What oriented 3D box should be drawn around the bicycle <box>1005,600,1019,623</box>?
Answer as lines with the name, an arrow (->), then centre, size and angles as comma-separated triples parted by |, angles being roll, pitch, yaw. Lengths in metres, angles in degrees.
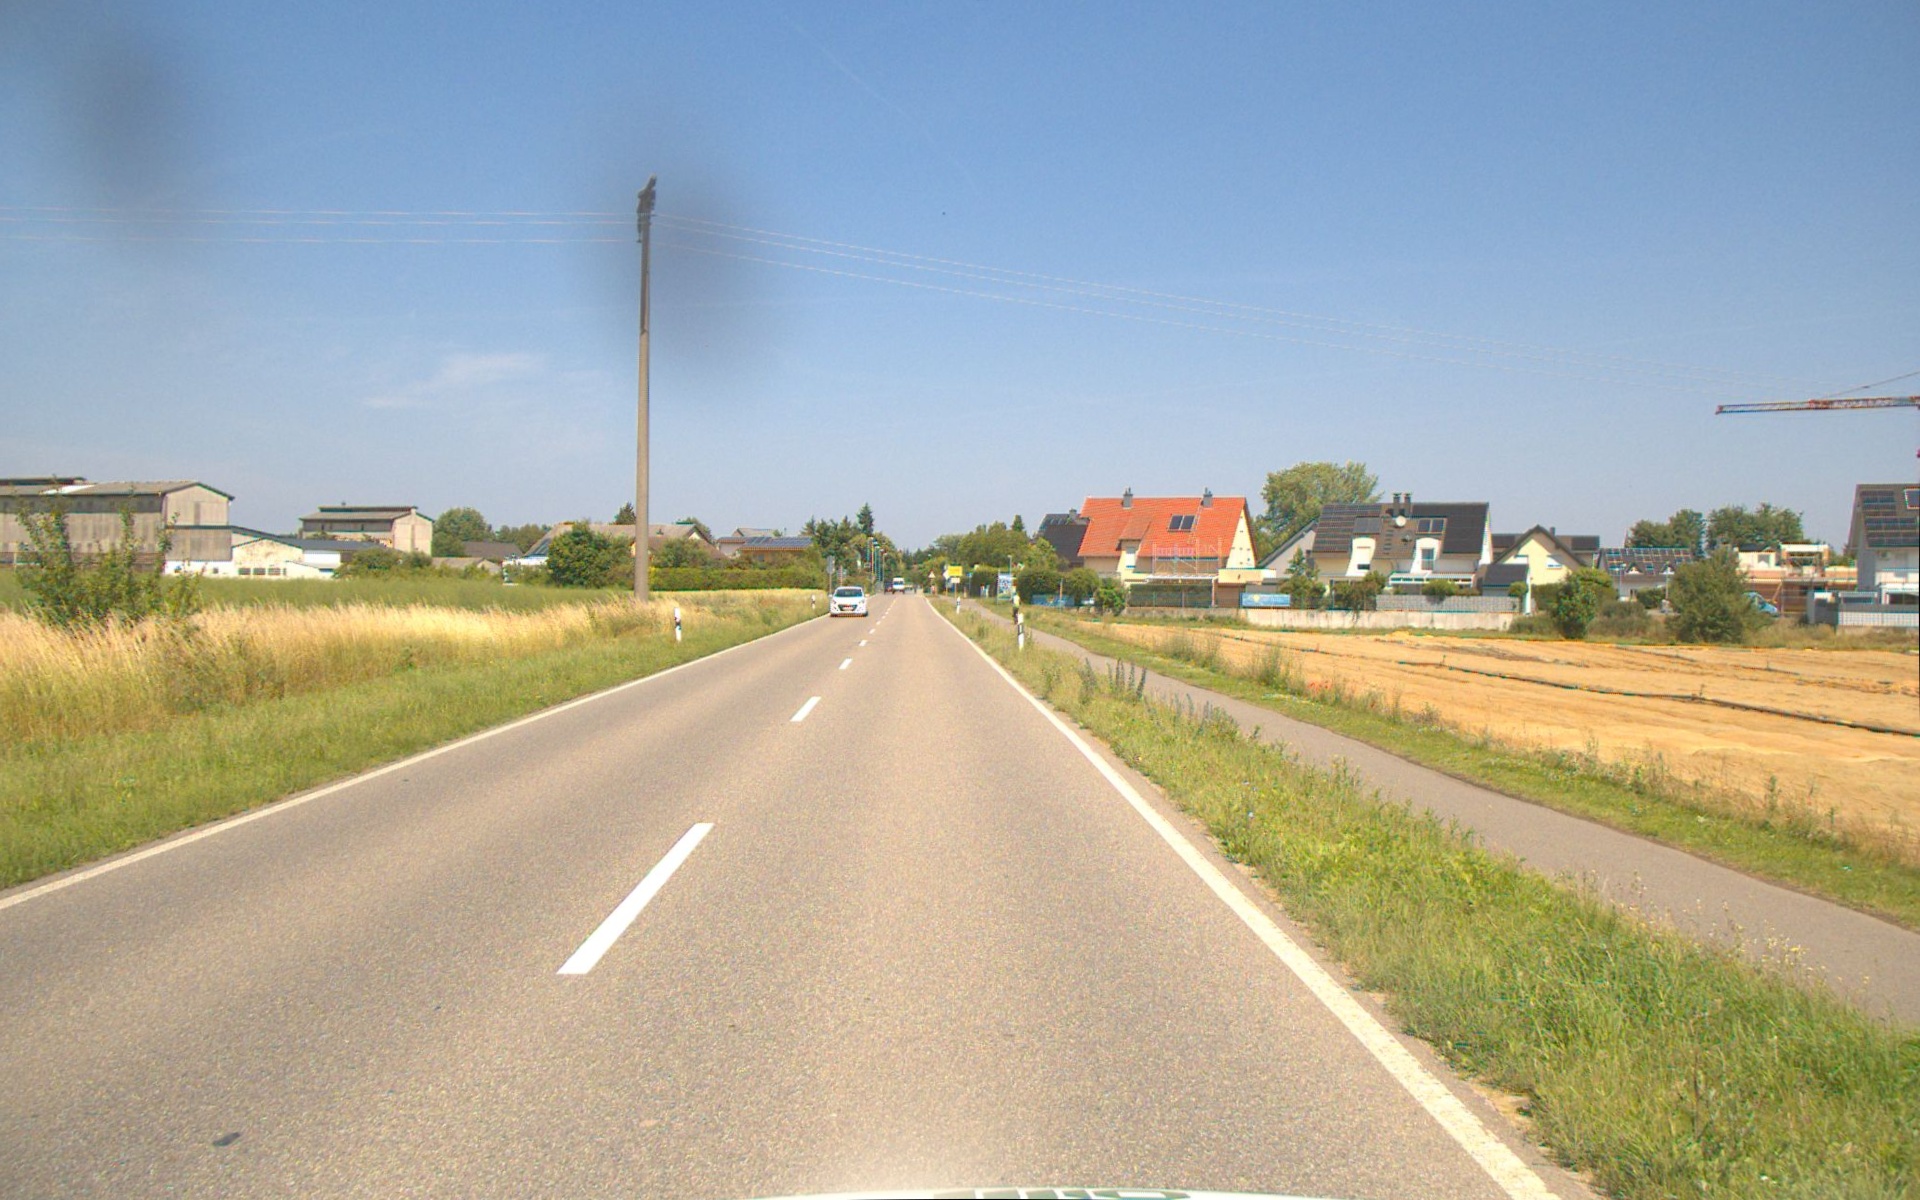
bicycle -> 2.930, 0.644, 93.236 | 0.598, 1.179, 2.273 | 2, 1, -2

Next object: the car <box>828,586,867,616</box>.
car -> -5.519, 0.034, 81.409 | 1.755, 1.434, 4.184 | 0, 0, -2

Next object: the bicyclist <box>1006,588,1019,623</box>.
bicyclist -> 2.956, 0.280, 93.076 | 0.632, 1.922, 0.860 | 2, 1, -3
